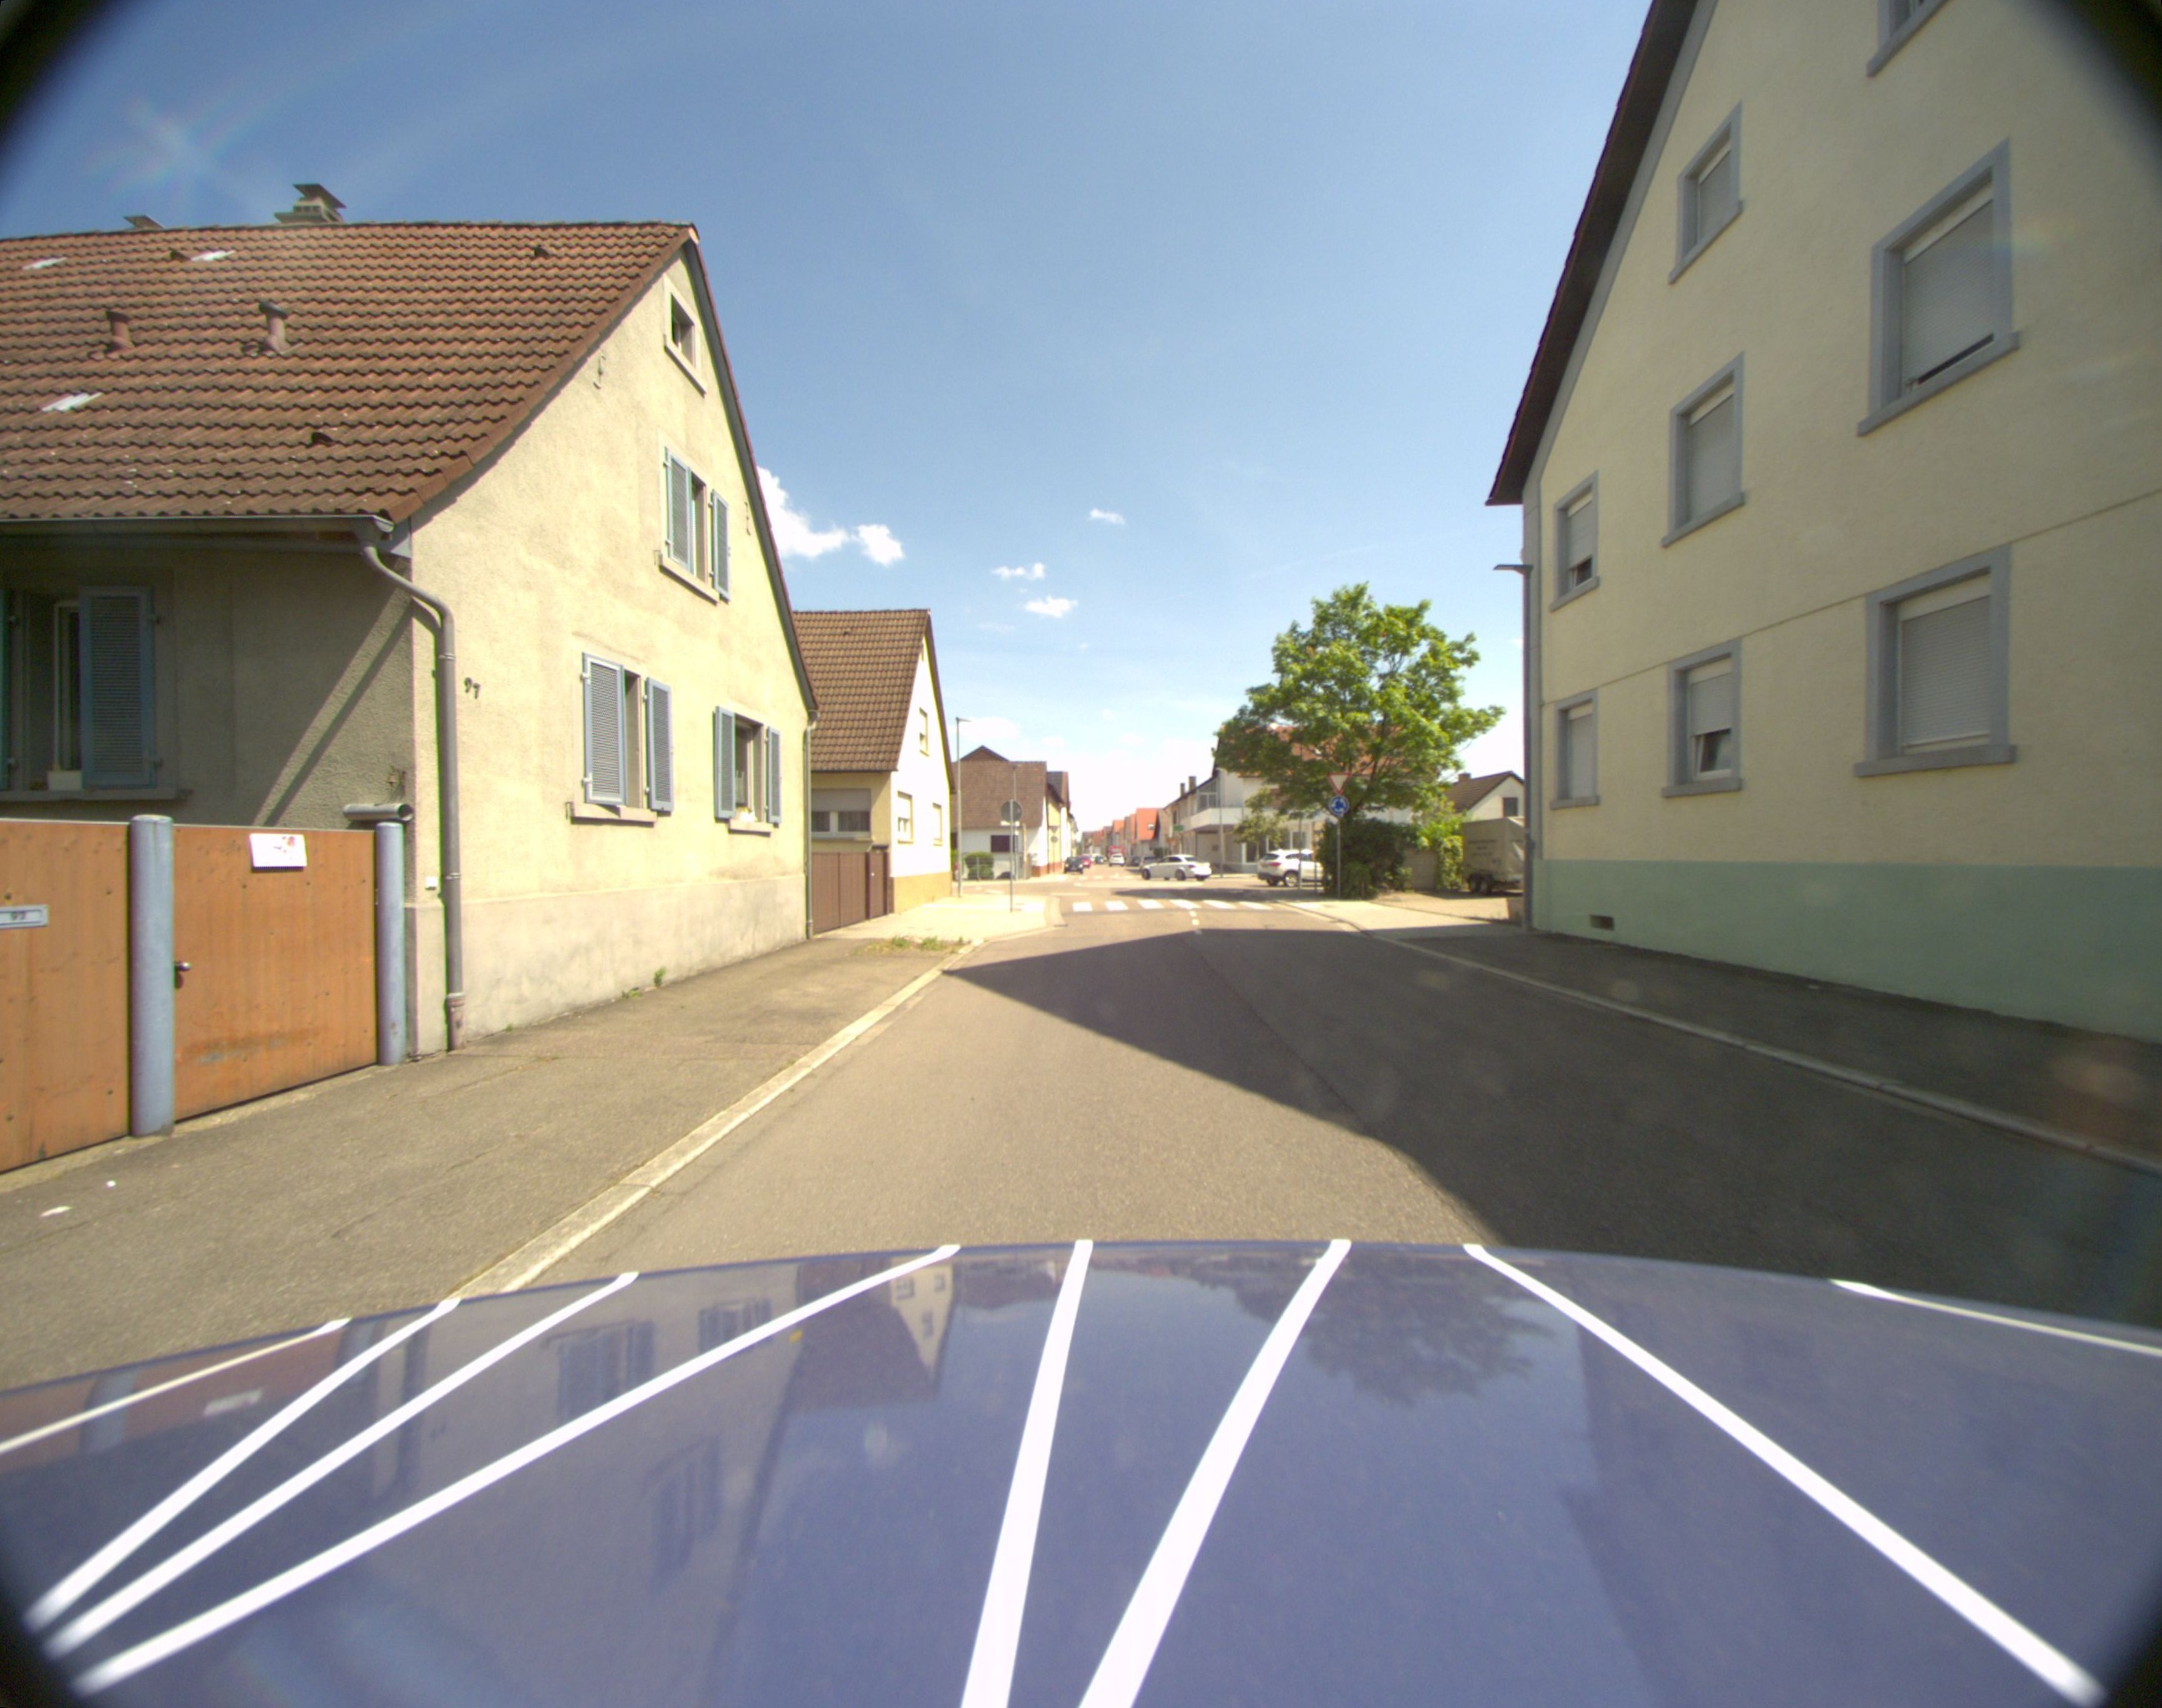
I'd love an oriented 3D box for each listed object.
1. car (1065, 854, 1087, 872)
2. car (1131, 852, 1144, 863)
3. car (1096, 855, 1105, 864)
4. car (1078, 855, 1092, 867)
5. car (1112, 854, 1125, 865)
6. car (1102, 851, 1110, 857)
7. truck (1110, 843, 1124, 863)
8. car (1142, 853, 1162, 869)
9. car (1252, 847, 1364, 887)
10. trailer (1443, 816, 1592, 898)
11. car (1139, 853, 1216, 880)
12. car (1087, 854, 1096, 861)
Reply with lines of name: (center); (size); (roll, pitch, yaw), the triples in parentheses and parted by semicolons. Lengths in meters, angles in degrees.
car: (-0.404, 0.765, 62.863); (1.598, 1.385, 4.170); (-1, -2, 2)
car: (7.617, 0.478, 102.702); (1.726, 1.385, 4.171); (-1, -2, 3)
car: (3.383, 0.930, 131.929); (1.598, 1.385, 4.168); (-2, 0, 1)
car: (0.535, 0.872, 92.110); (1.598, 1.385, 4.170); (-1, -2, 2)
car: (5.094, 0.804, 102.838); (1.726, 1.385, 4.171); (-1, -2, 3)
car: (6.664, -0.058, 200.823); (1.727, 1.385, 4.167); (-2, 0, -3)
truck: (6.524, -0.171, 137.311); (1.999, 3.420, 7.074); (-2, 1, -1)
car: (6.847, 0.680, 73.544); (1.726, 1.385, 4.171); (-1, -2, 3)
car: (10.034, 0.556, 33.631); (4.449, 1.609, 1.806); (-2, 1, -14)
trailer: (13.301, 0.074, 23.498); (2.179, 2.266, 4.226); (-2, 0, 1)
car: (5.286, 0.661, 42.105); (1.602, 1.385, 4.157); (-2, 1, -42)
car: (2.198, 0.719, 154.876); (1.598, 1.385, 4.167); (-2, 0, -2)
